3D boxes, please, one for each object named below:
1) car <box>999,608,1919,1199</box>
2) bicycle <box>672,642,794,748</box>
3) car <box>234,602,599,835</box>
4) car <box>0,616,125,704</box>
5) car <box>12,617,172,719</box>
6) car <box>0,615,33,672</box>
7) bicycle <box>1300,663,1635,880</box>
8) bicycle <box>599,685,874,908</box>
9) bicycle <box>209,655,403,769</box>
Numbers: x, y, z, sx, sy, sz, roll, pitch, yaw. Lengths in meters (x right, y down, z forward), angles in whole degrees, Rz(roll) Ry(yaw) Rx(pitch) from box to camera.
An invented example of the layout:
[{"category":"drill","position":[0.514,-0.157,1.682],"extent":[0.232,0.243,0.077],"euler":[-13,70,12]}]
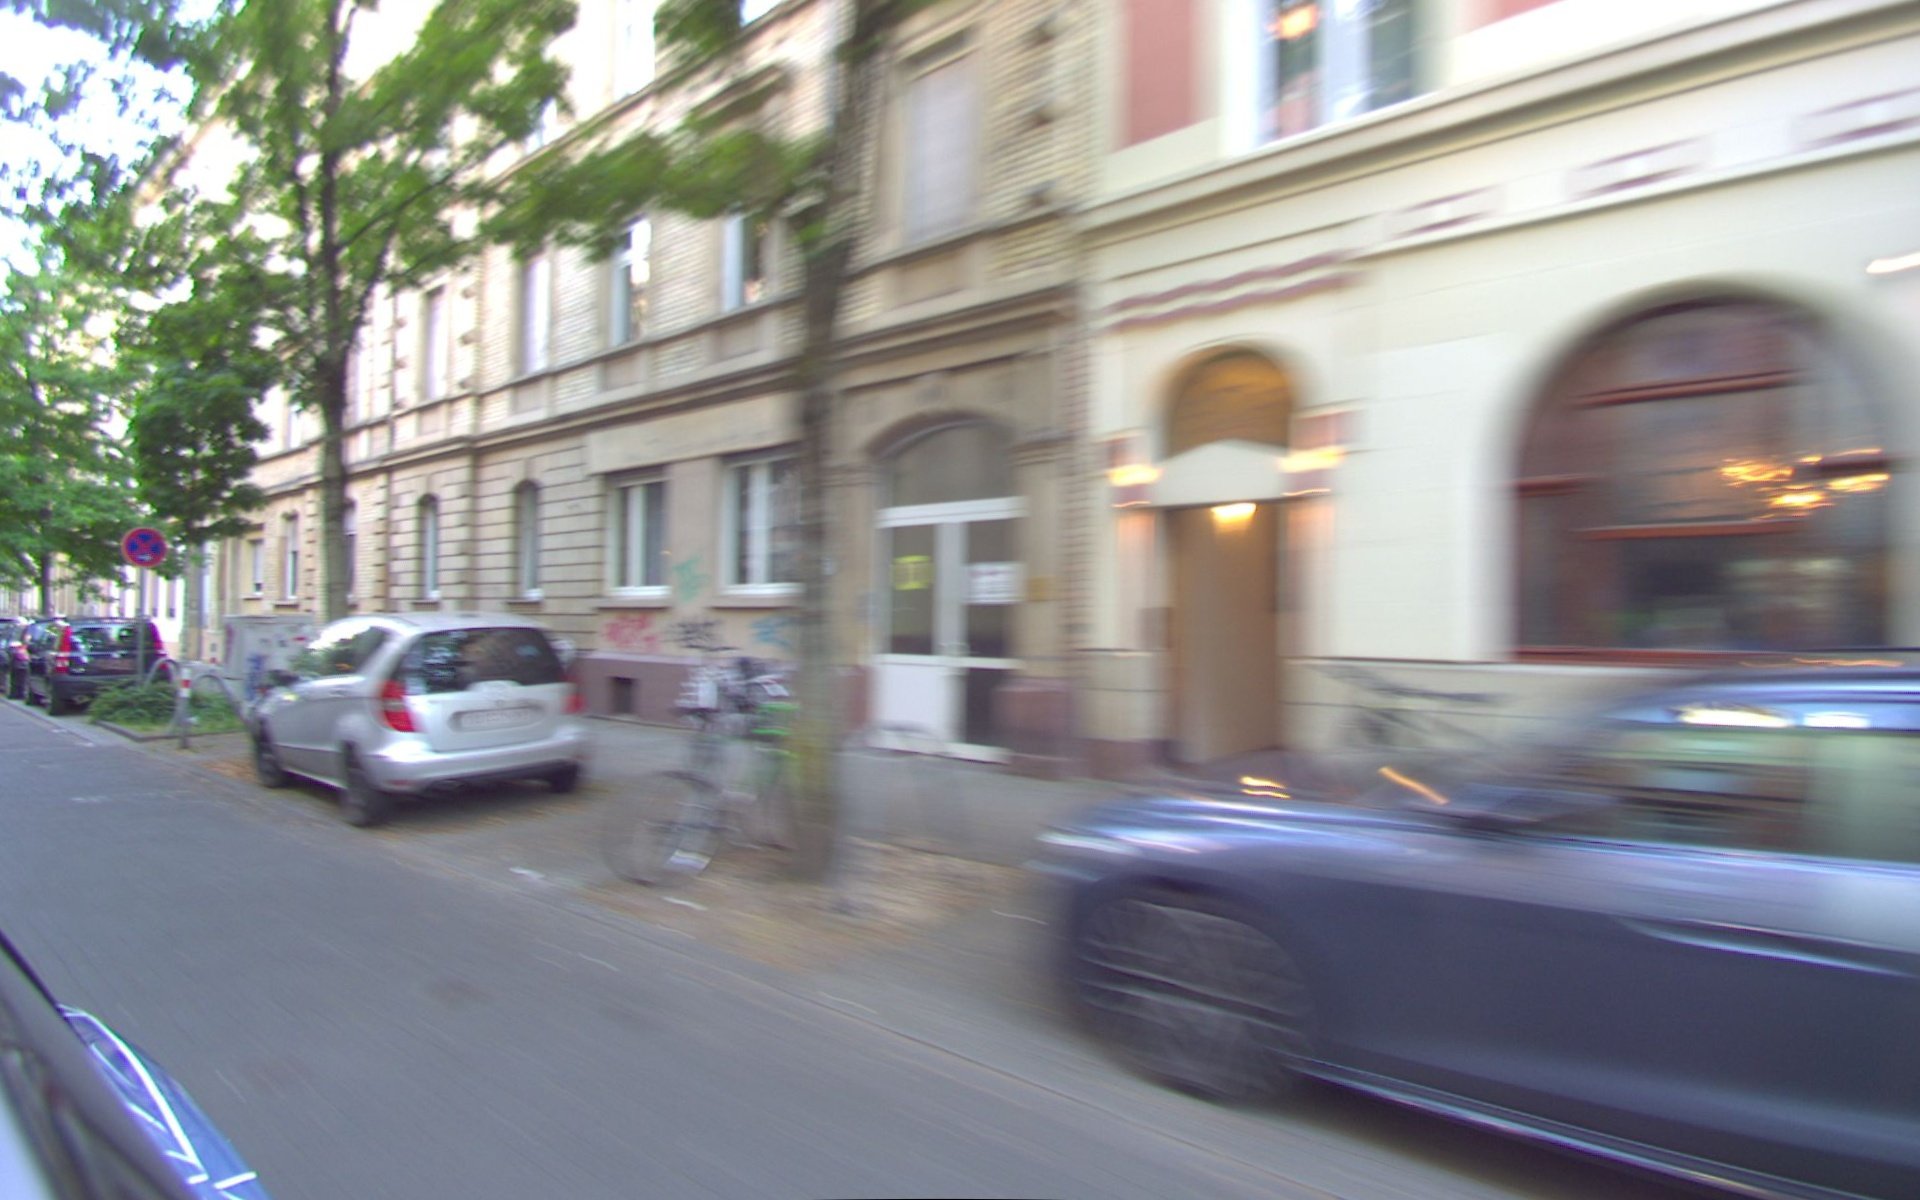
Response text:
[{"category":"car","position":[2.494,0.790,2.855],"extent":[4.682,1.529,1.787],"euler":[-1,-1,40]},{"category":"bicycle","position":[-2.596,1.040,11.461],"extent":[1.628,1.098,0.457],"euler":[-2,0,41]},{"category":"car","position":[-4.935,0.857,8.963],"extent":[3.860,1.620,1.658],"euler":[-1,-1,42]},{"category":"car","position":[-17.706,1.076,19.608],"extent":[3.708,1.513,1.674],"euler":[0,-1,39]},{"category":"car","position":[-14.706,1.059,17.093],"extent":[3.559,1.513,1.504],"euler":[0,-1,40]},{"category":"car","position":[-26.624,1.122,27.315],"extent":[4.254,1.473,1.749],"euler":[-1,-2,39]},{"category":"bicycle","position":[3.092,0.980,6.300],"extent":[1.794,1.106,0.521],"euler":[-1,-2,41]},{"category":"bicycle","position":[-1.277,1.098,6.077],"extent":[0.430,1.011,1.666],"euler":[-1,1,42]},{"category":"bicycle","position":[-7.310,1.208,11.425],"extent":[0.592,1.068,1.857],"euler":[0,0,21]}]
